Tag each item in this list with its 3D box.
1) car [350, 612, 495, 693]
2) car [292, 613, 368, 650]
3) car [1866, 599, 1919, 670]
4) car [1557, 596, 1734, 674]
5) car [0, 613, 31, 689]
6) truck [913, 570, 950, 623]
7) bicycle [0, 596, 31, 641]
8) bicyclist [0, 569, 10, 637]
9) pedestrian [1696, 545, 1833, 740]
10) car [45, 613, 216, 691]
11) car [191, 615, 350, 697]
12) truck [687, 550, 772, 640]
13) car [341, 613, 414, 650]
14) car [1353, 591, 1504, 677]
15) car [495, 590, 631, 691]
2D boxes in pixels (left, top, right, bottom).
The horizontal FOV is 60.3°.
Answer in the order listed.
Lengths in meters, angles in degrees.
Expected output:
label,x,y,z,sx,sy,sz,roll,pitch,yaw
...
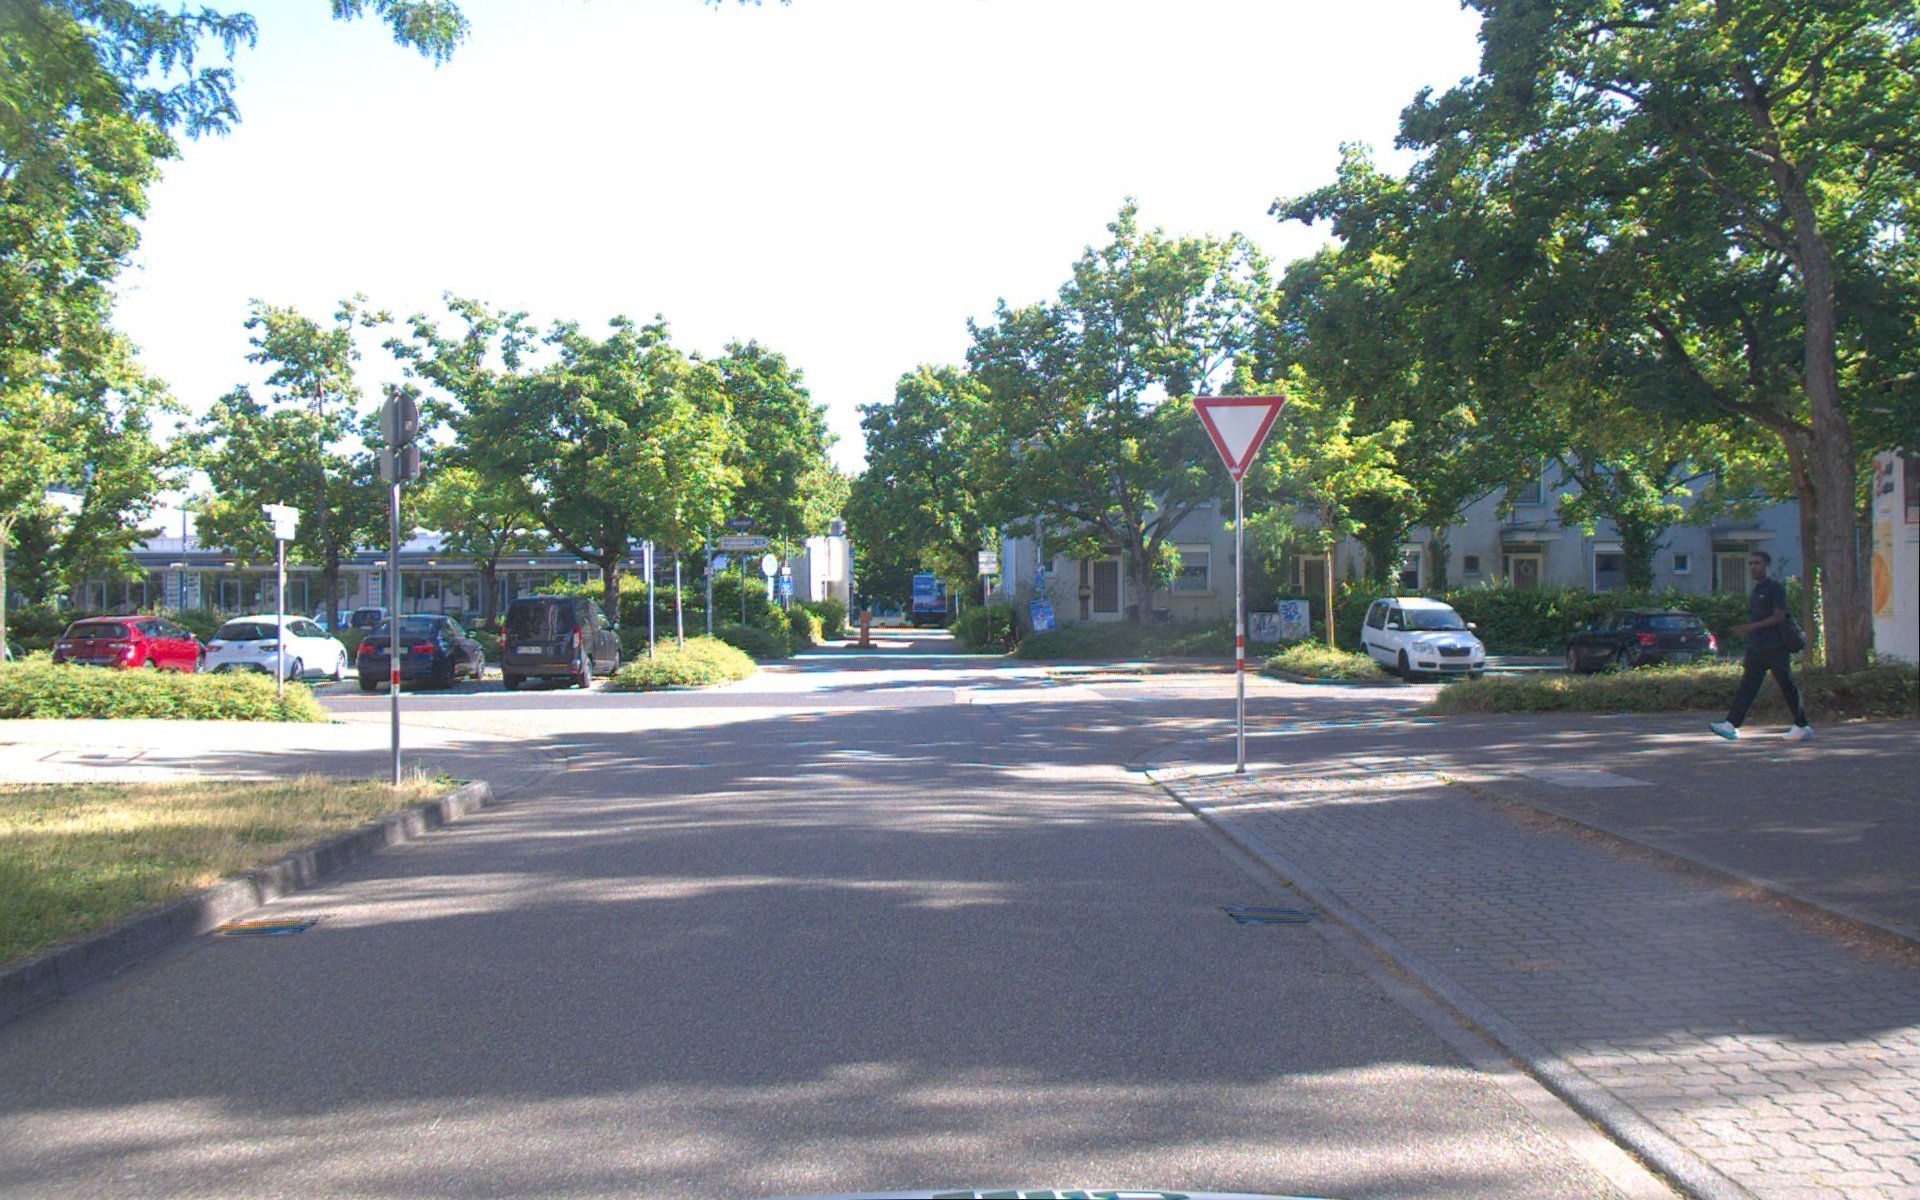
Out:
label,x,y,z,sx,sy,sz,roll,pitch,yaw
car,-10.990,1.028,34.111,1.787,1.430,4.166,-1,1,-3
car,-27.799,1.349,73.049,1.798,1.524,3.908,-1,0,1
car,20.987,0.735,34.468,1.787,1.430,4.166,-1,1,-3
car,14.143,0.683,34.389,1.787,1.430,4.166,-1,1,-3
car,-21.249,1.077,34.511,1.641,1.605,3.910,0,0,-3
truck,-2.196,-0.258,129.022,2.704,3.937,9.328,0,0,-1
bicycle,-22.520,0.409,37.908,2.041,1.013,0.595,1,0,-5
bicyclist,-22.447,0.062,37.911,0.991,1.550,0.595,0,0,-5
pedestrian,7.333,0.368,15.085,0.797,1.714,0.829,-1,0,-32
car,-16.740,1.012,33.594,1.634,1.451,3.910,0,0,-3
car,-13.994,1.088,33.792,1.766,1.461,3.910,0,1,-3
truck,-10.396,-0.207,75.213,2.745,3.873,6.924,0,0,1
car,-25.724,1.367,73.202,1.798,1.524,3.908,-1,0,1
car,9.676,0.654,34.509,1.787,1.626,4.166,-1,1,-3
car,-8.111,0.766,34.145,1.836,1.879,4.168,-1,1,-1
